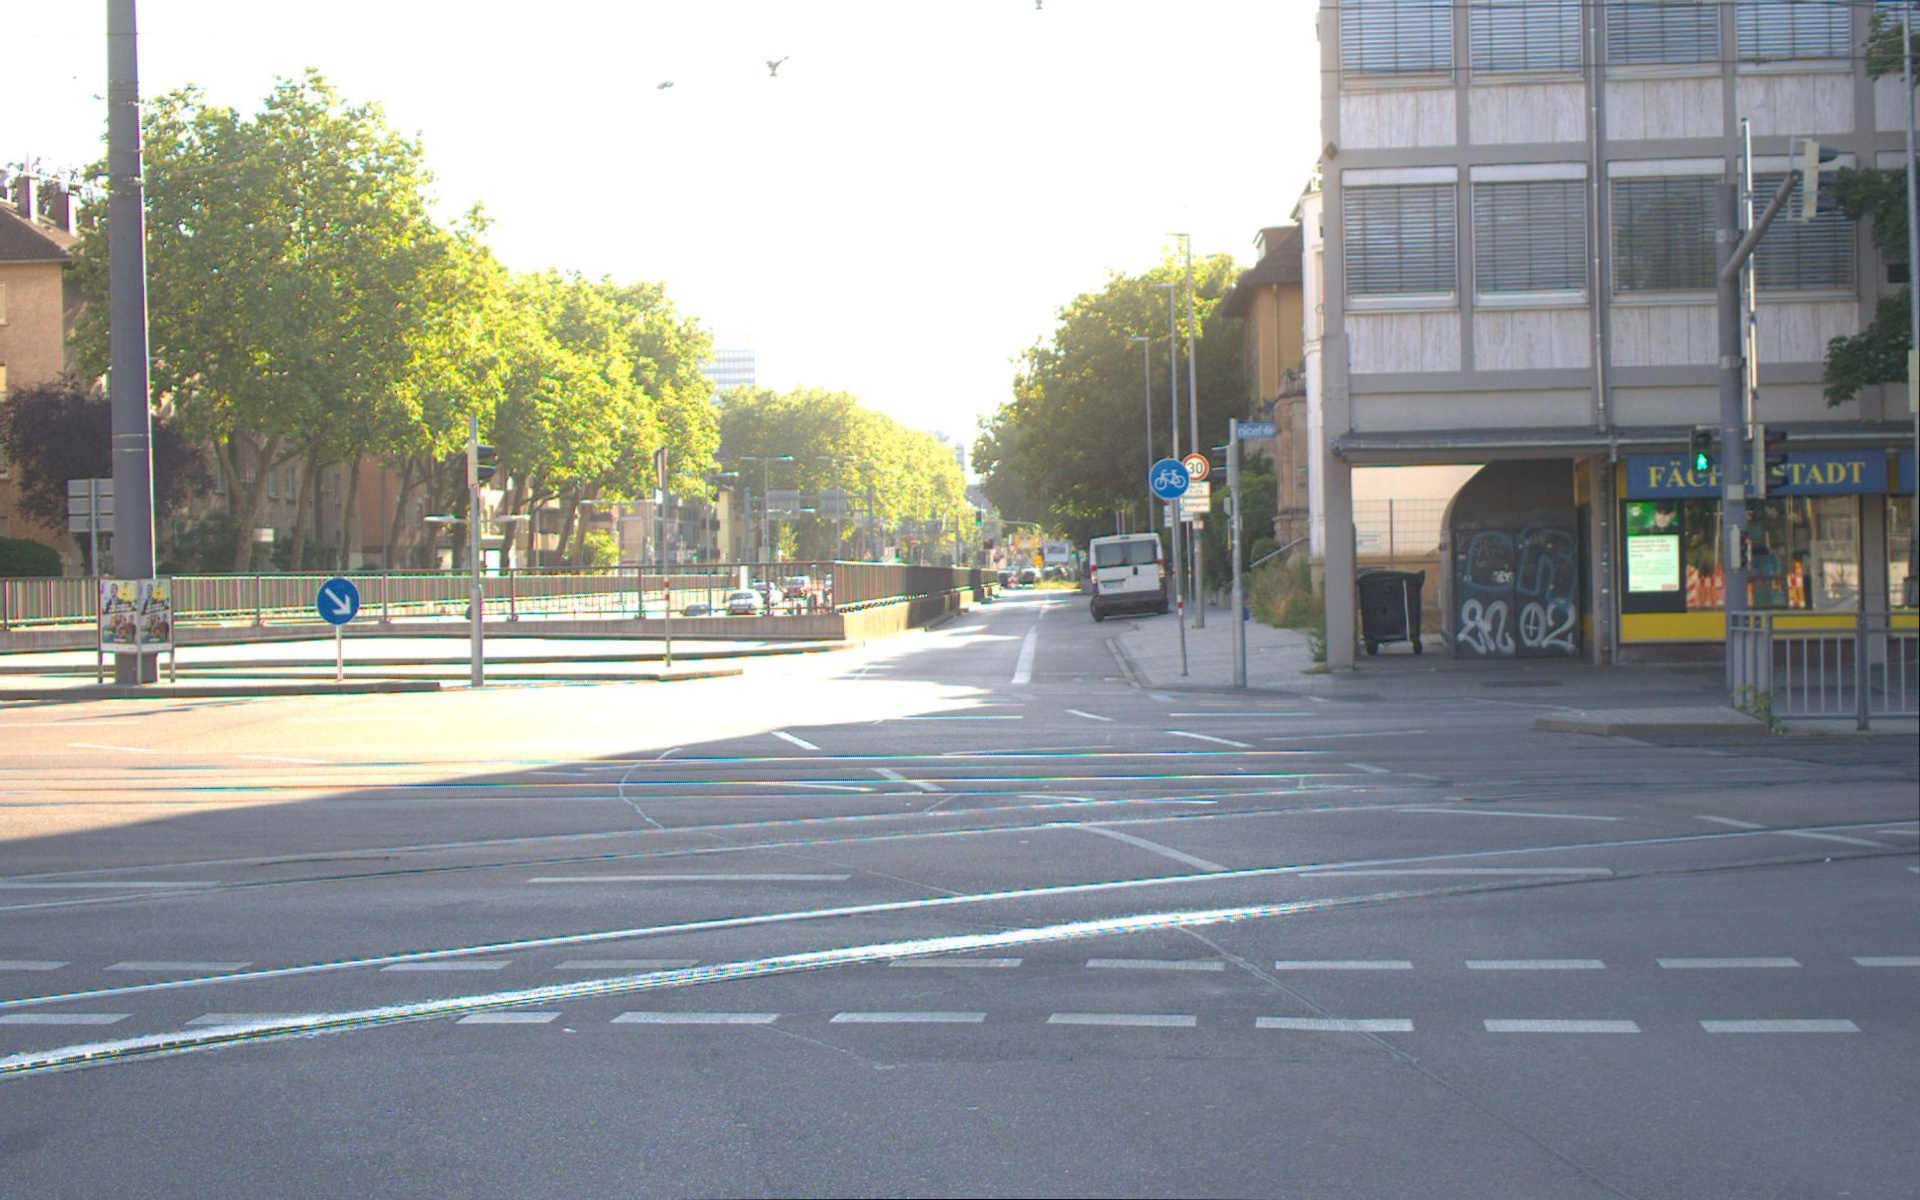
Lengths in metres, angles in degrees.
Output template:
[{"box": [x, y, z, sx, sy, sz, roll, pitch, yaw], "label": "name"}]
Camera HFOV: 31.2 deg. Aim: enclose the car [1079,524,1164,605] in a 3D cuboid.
[{"box": [4.527, -0.979, 95.845, 2.286, 2.165, 4.833, 1, 0, 3], "label": "car"}]
